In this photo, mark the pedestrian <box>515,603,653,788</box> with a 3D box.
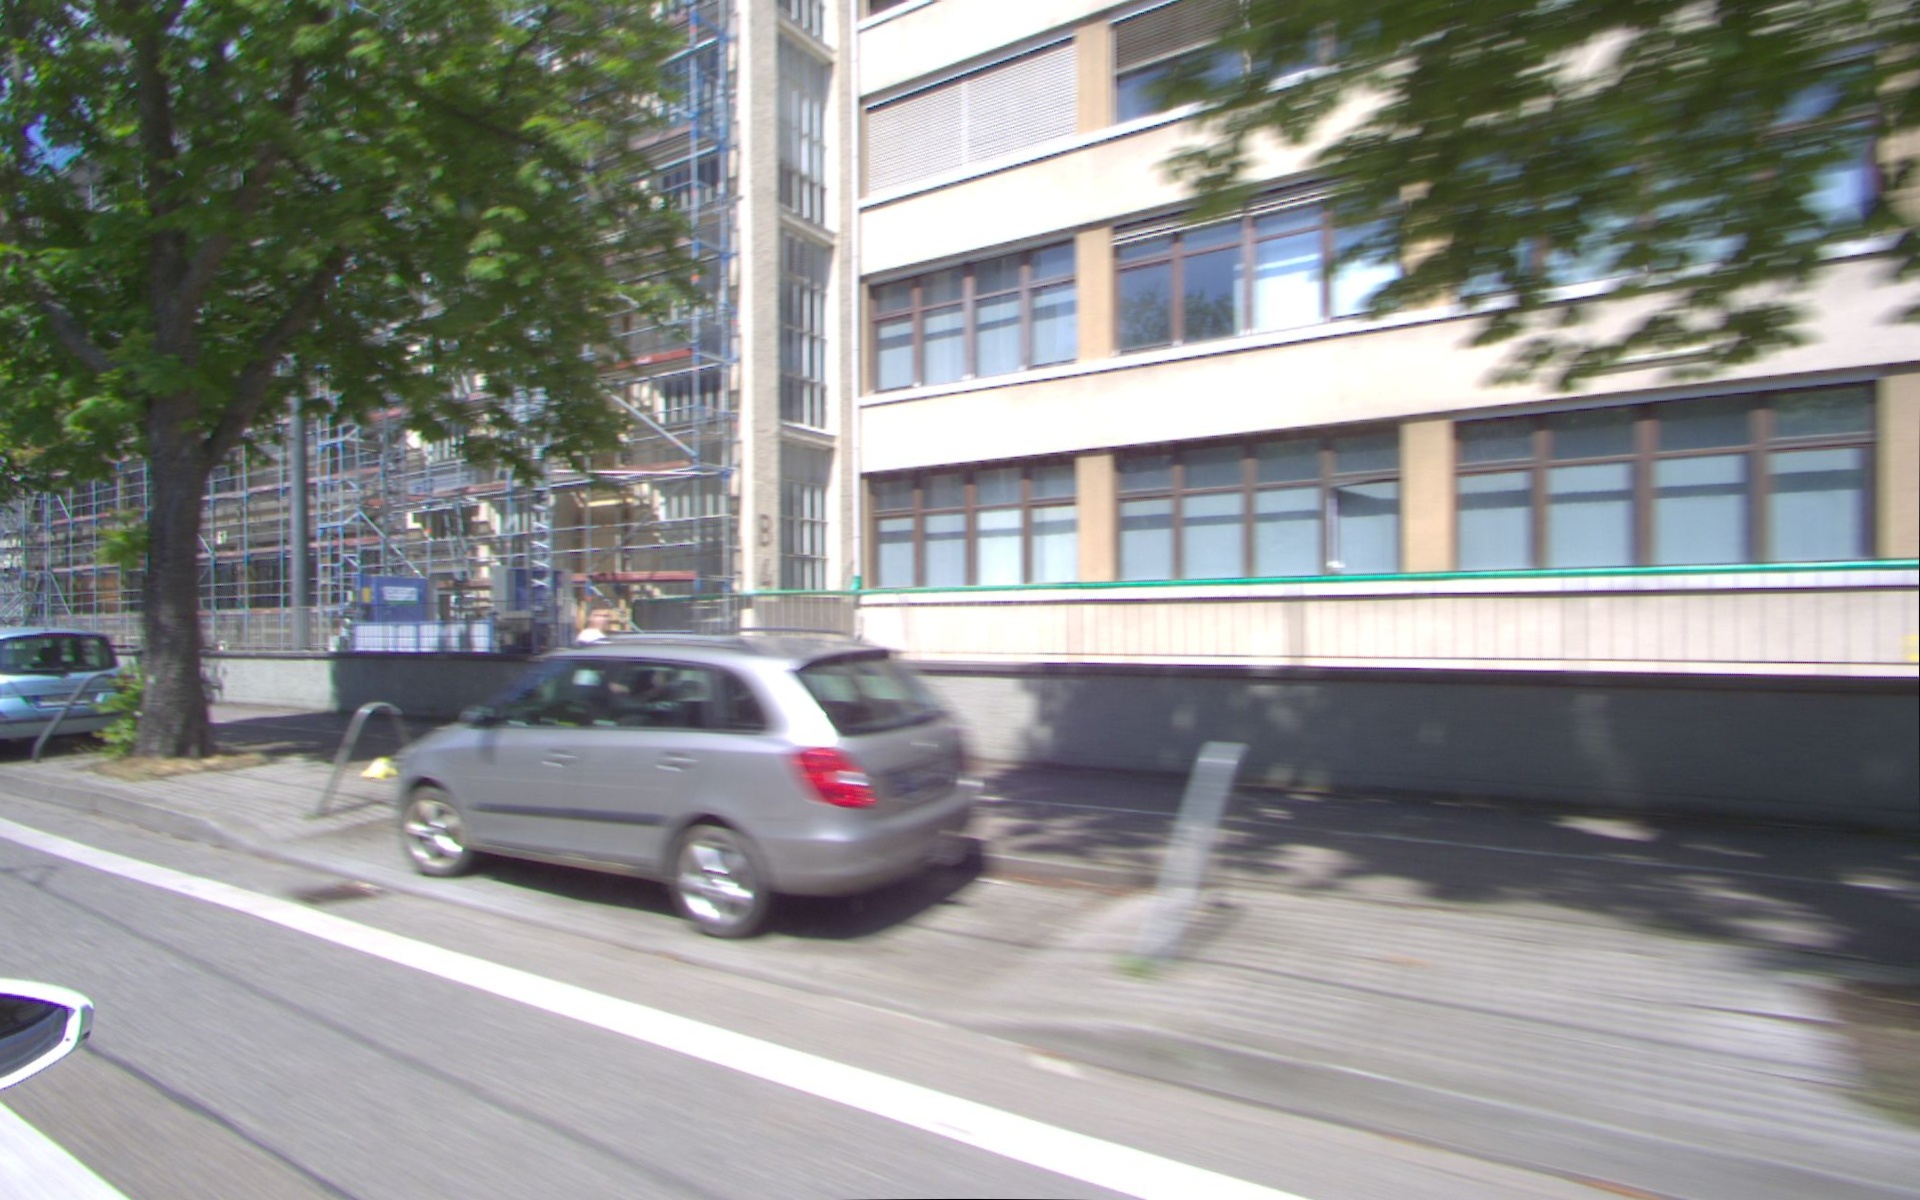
[{"bbox_3d":[-3.491,0.842,9.331,0.906,1.610,0.798,0,1,31],"label":"pedestrian"}]

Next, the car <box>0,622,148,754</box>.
[{"bbox_3d":[-12.671,1.065,13.288,4.140,1.537,1.669,-1,-1,31],"label":"car"}]

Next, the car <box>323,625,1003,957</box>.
[{"bbox_3d":[-2.012,0.929,6.421,4.299,1.519,1.670,-1,-1,29],"label":"car"}]
